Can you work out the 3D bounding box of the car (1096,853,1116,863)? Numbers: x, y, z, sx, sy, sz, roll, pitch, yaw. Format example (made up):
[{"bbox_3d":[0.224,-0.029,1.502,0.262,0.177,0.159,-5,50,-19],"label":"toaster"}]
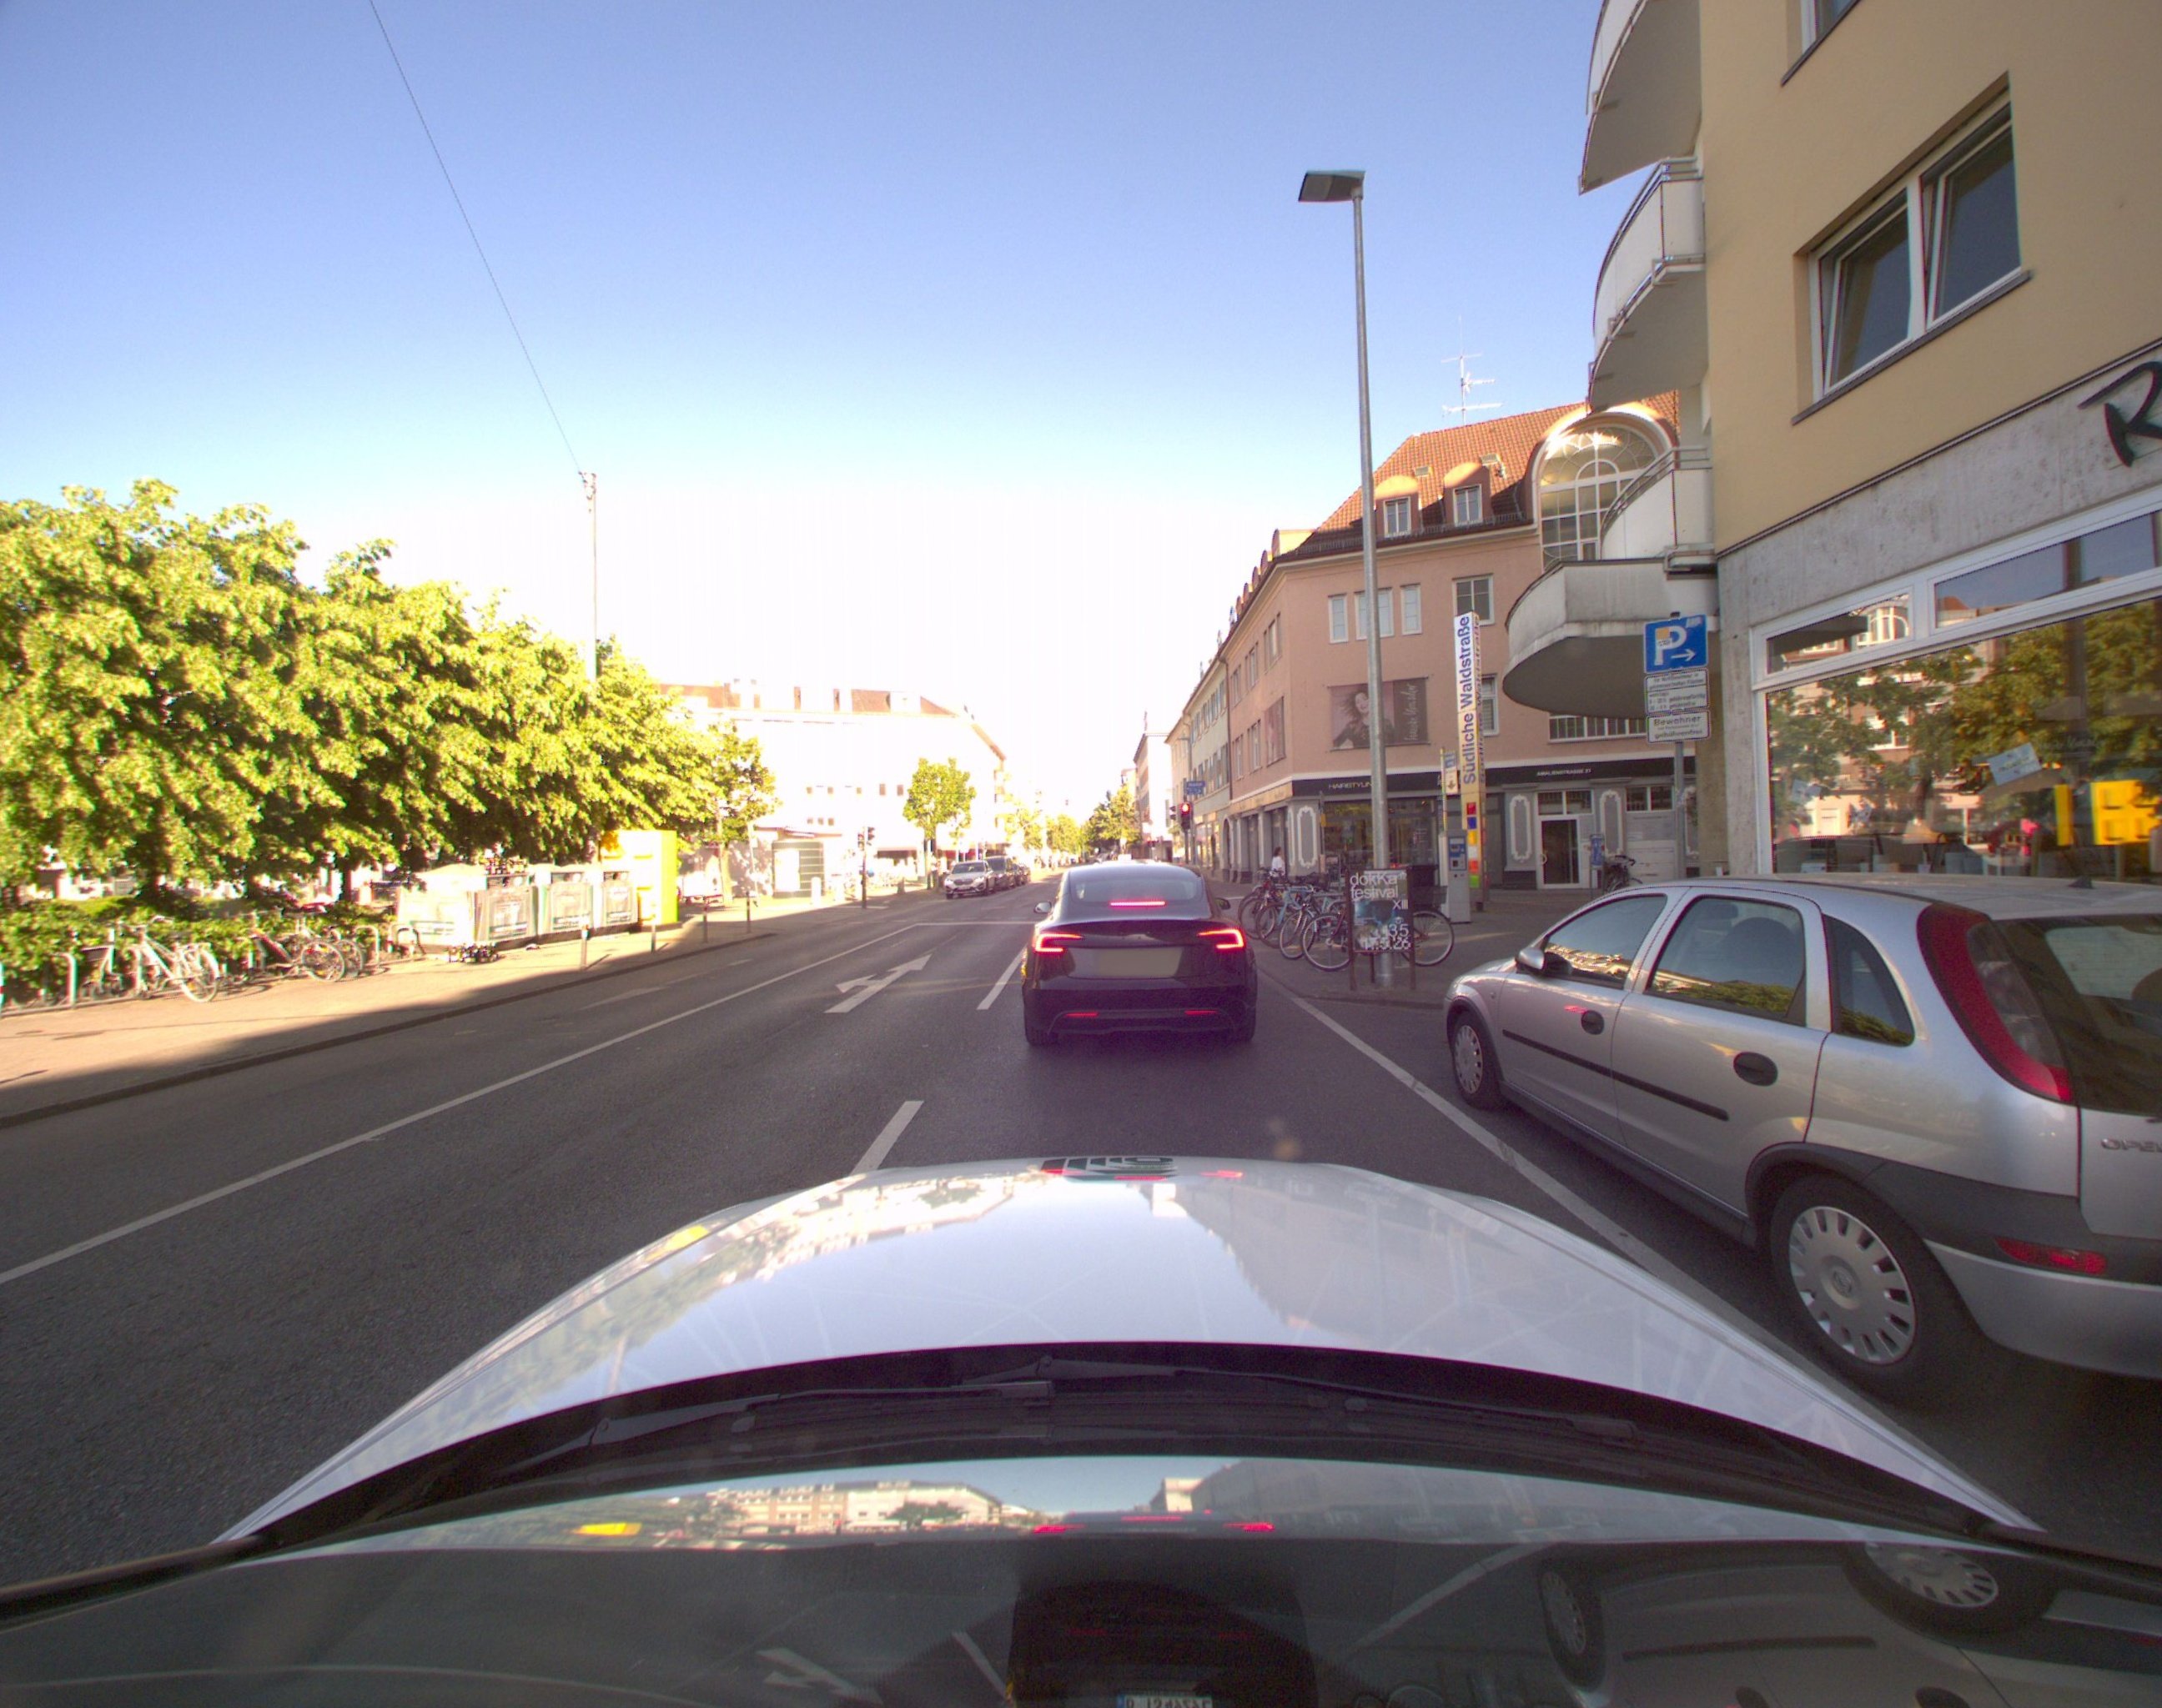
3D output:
[{"bbox_3d":[5.121,0.853,167.684,3.974,2.013,2.000,-1,0,0],"label":"car"}]

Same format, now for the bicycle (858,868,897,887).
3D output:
[{"bbox_3d":[-13.167,1.519,52.701,2.318,1.156,0.841,-1,0,-4],"label":"bicycle"}]

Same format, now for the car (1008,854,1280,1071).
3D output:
[{"bbox_3d":[0.496,0.762,7.615,1.841,1.455,4.001,-1,0,2],"label":"car"}]

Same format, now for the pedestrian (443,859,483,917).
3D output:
[{"bbox_3d":[-22.373,1.211,29.480,0.980,2.013,0.910,-2,-1,38],"label":"pedestrian"}]

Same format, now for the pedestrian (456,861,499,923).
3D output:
[{"bbox_3d":[-20.185,1.246,27.253,0.980,2.013,0.910,-2,-1,38],"label":"pedestrian"}]

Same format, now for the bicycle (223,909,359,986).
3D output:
[{"bbox_3d":[-11.321,1.336,11.680,1.561,1.023,0.430,-1,0,3],"label":"bicycle"}]

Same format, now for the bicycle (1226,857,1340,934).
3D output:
[{"bbox_3d":[3.619,0.744,14.724,1.851,1.258,0.834,-3,-1,7],"label":"bicycle"}]

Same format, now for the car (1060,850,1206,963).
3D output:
[{"bbox_3d":[0.737,0.728,13.323,1.987,1.512,4.175,-1,0,0],"label":"car"}]

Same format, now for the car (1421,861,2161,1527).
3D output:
[{"bbox_3d":[2.967,0.737,3.533,1.607,1.382,3.645,0,0,2],"label":"car"}]

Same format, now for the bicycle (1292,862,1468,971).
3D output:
[{"bbox_3d":[3.635,0.757,10.027,1.876,1.193,0.693,-3,0,7],"label":"bicycle"}]

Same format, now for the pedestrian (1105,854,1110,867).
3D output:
[{"bbox_3d":[3.965,0.971,121.466,0.639,2.014,0.690,-1,-1,-2],"label":"pedestrian"}]

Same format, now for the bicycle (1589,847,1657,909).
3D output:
[{"bbox_3d":[11.084,0.462,16.729,0.653,1.199,2.223,-2,0,21],"label":"bicycle"}]

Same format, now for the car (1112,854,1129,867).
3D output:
[{"bbox_3d":[4.866,0.793,100.918,1.986,1.629,4.002,-1,0,2],"label":"car"}]

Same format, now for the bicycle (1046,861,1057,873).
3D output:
[{"bbox_3d":[-3.479,1.546,95.798,1.108,1.344,3.998,-1,0,-1],"label":"bicycle"}]

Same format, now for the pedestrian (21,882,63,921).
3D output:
[{"bbox_3d":[-54.352,2.471,42.611,1.272,2.014,0.908,-1,-1,13],"label":"pedestrian"}]

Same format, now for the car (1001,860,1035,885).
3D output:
[{"bbox_3d":[-4.395,1.261,57.288,1.988,1.436,4.672,-5,0,-1],"label":"car"}]

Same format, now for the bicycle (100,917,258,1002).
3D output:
[{"bbox_3d":[-11.457,1.332,10.361,1.590,1.018,0.430,-1,0,3],"label":"bicycle"}]

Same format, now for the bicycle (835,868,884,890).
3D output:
[{"bbox_3d":[-12.378,1.369,45.560,2.453,1.156,0.843,-1,0,0],"label":"bicycle"}]

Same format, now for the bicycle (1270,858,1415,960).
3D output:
[{"bbox_3d":[3.539,0.730,11.163,1.713,1.268,0.792,-3,-1,7],"label":"bicycle"}]

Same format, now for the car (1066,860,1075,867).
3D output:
[{"bbox_3d":[-2.485,2.165,187.380,1.988,1.637,3.998,-1,0,-1],"label":"car"}]

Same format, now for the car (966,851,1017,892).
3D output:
[{"bbox_3d":[-4.640,0.870,42.871,1.827,1.845,4.677,-5,0,2],"label":"car"}]

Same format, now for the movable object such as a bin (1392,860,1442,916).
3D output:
[{"bbox_3d":[6.741,0.677,16.353,0.749,1.092,0.628,0,-1,3],"label":"movable object such as a bin"}]

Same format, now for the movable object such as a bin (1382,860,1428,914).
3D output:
[{"bbox_3d":[6.750,0.682,16.990,0.730,1.092,0.628,0,-1,3],"label":"movable object such as a bin"}]

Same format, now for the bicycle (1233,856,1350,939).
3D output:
[{"bbox_3d":[3.504,0.716,13.696,1.738,1.267,0.782,-3,-1,4],"label":"bicycle"}]

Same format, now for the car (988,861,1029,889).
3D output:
[{"bbox_3d":[-4.364,1.236,49.690,1.988,1.410,4.672,-5,0,-1],"label":"car"}]

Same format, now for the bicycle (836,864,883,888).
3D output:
[{"bbox_3d":[-12.908,1.248,47.507,2.472,1.324,0.921,-1,0,-4],"label":"bicycle"}]

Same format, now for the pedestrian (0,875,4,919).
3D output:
[{"bbox_3d":[-50.451,1.993,37.319,0.985,2.014,0.906,-1,-1,6],"label":"pedestrian"}]

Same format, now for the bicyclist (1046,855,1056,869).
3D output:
[{"bbox_3d":[-3.505,0.930,95.895,1.123,1.628,0.965,-1,0,-1],"label":"bicyclist"}]

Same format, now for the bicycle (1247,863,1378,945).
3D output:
[{"bbox_3d":[3.519,0.759,12.515,1.788,1.124,0.783,-3,-1,7],"label":"bicycle"}]

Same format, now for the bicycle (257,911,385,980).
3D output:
[{"bbox_3d":[-11.373,1.369,12.202,1.517,0.958,0.431,-1,1,3],"label":"bicycle"}]

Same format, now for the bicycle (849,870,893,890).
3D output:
[{"bbox_3d":[-12.951,1.574,50.266,2.528,1.156,0.841,-1,0,-4],"label":"bicycle"}]

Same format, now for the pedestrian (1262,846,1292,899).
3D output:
[{"bbox_3d":[5.847,0.554,24.311,0.744,1.552,0.700,-1,0,3],"label":"pedestrian"}]

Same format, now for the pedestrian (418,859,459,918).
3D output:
[{"bbox_3d":[-22.812,1.209,28.926,0.980,2.013,0.910,-2,-1,38],"label":"pedestrian"}]

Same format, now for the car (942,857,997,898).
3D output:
[{"bbox_3d":[-4.946,0.996,36.674,1.802,1.555,4.308,-5,0,-1],"label":"car"}]

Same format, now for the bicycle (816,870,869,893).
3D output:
[{"bbox_3d":[-12.584,1.441,43.030,2.497,1.156,0.843,-1,0,0],"label":"bicycle"}]
